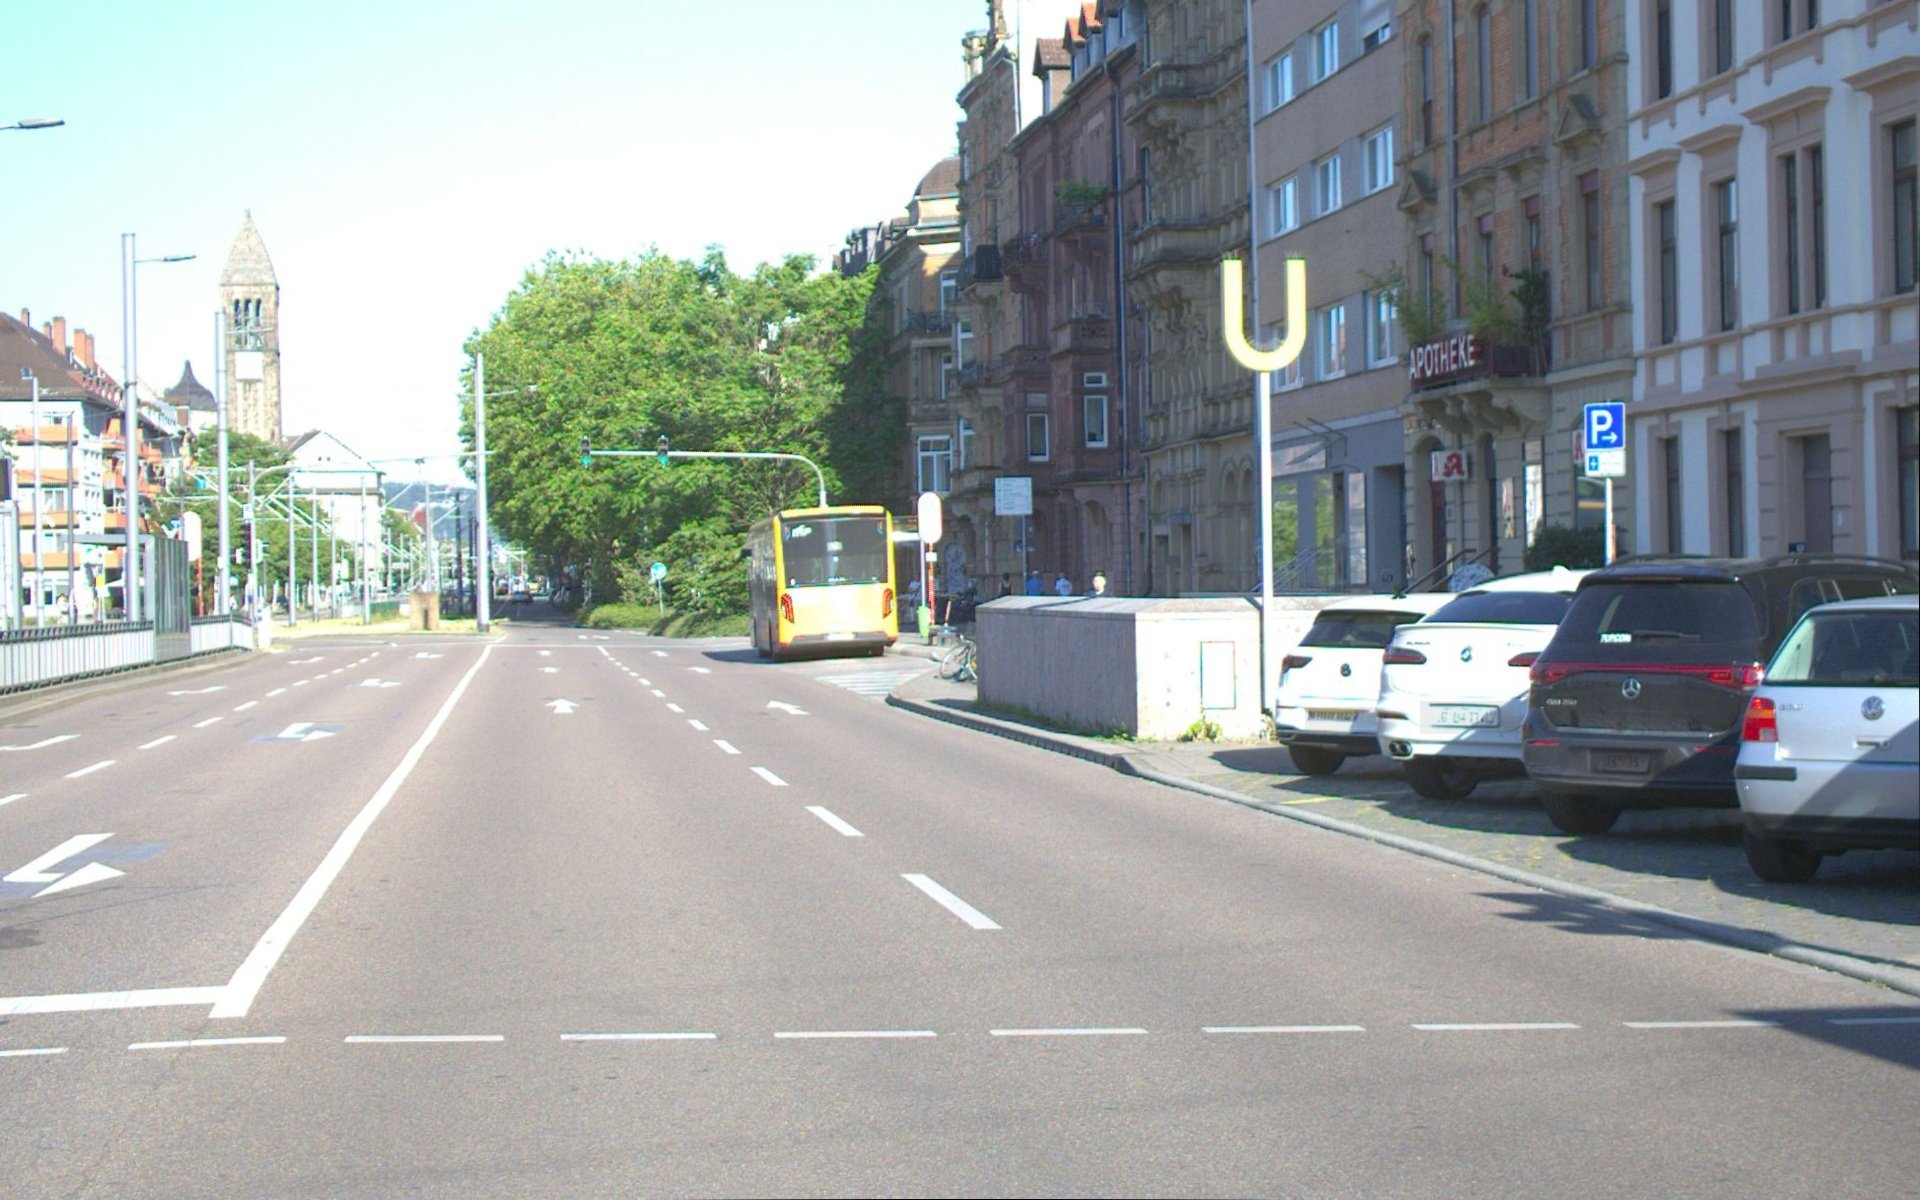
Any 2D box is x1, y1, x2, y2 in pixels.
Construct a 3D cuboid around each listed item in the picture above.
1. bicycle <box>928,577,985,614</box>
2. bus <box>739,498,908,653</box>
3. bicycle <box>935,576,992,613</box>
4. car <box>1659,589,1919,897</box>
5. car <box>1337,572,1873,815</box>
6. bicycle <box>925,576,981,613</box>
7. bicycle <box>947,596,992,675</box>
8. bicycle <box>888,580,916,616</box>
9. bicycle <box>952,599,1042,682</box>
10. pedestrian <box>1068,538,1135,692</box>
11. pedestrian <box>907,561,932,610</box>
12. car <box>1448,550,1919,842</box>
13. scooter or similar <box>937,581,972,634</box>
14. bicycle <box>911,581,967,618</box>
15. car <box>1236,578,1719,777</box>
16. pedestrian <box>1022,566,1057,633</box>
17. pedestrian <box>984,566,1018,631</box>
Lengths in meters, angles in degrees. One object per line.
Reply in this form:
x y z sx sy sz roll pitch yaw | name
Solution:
-0.127 -0.150 121.630 1.883 1.234 0.490 -2 -1 -19 | bicycle
-3.289 -0.562 78.968 2.714 3.170 12.544 -2 1 -7 | bus
0.114 -0.197 120.496 1.883 1.234 0.490 -2 -1 -19 | bicycle
5.282 0.677 17.460 1.787 1.395 3.884 1 0 39 | car
4.675 0.595 24.494 1.958 1.565 4.241 1 1 39 | car
-0.233 -0.181 122.210 1.883 1.234 0.490 -2 -1 -19 | bicycle
0.147 0.530 52.655 0.468 1.143 1.771 0 1 -7 | bicycle
-2.107 -0.079 124.714 0.489 1.234 1.890 -2 -1 -16 | bicycle
0.530 0.577 49.976 0.468 1.143 1.771 -1 1 -30 | bicycle
1.902 0.192 46.345 0.750 2.006 0.698 -2 3 -7 | pedestrian
-1.385 -0.497 117.149 0.702 1.650 1.137 -1 0 -7 | pedestrian
4.952 0.509 21.015 1.958 1.592 4.241 1 1 40 | car
-0.129 0.195 83.134 0.431 1.245 1.295 -3 0 -16 | scooter or similar
-0.747 -0.032 123.179 1.883 1.234 0.490 -2 -1 -19 | bicycle
4.298 0.583 28.139 1.960 1.459 4.103 -1 0 42 | car
2.333 -0.017 101.293 0.822 1.923 1.137 -1 0 -7 | pedestrian
1.225 -0.051 102.415 0.822 1.923 1.137 -1 0 -7 | pedestrian
